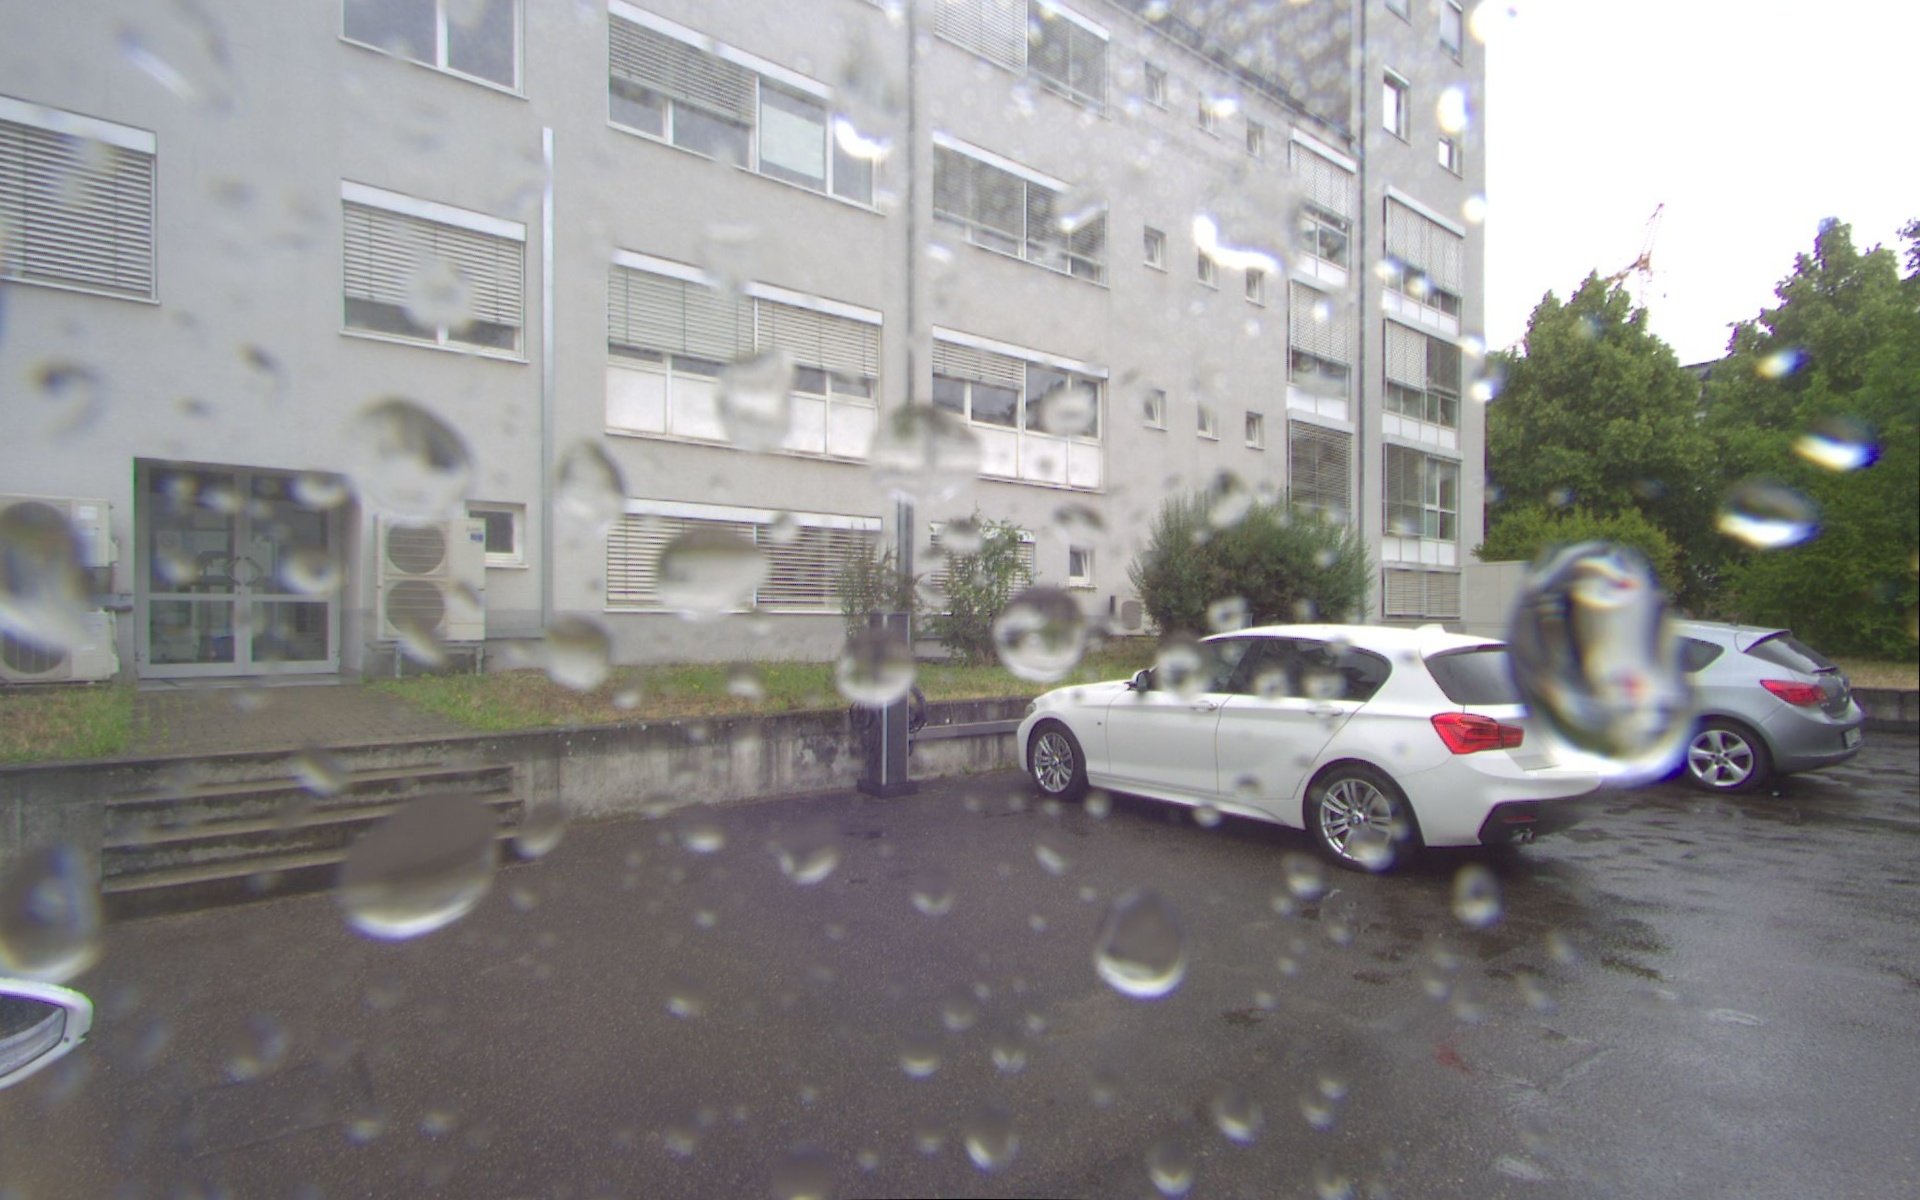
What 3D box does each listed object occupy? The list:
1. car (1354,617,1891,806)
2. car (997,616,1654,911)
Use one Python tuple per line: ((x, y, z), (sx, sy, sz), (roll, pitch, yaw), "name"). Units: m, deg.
((6.496, 0.944, 10.257), (1.976, 1.509, 4.190), (2, -2, -37), "car")
((2.353, 0.895, 7.413), (1.976, 1.509, 4.190), (2, -2, -37), "car")
